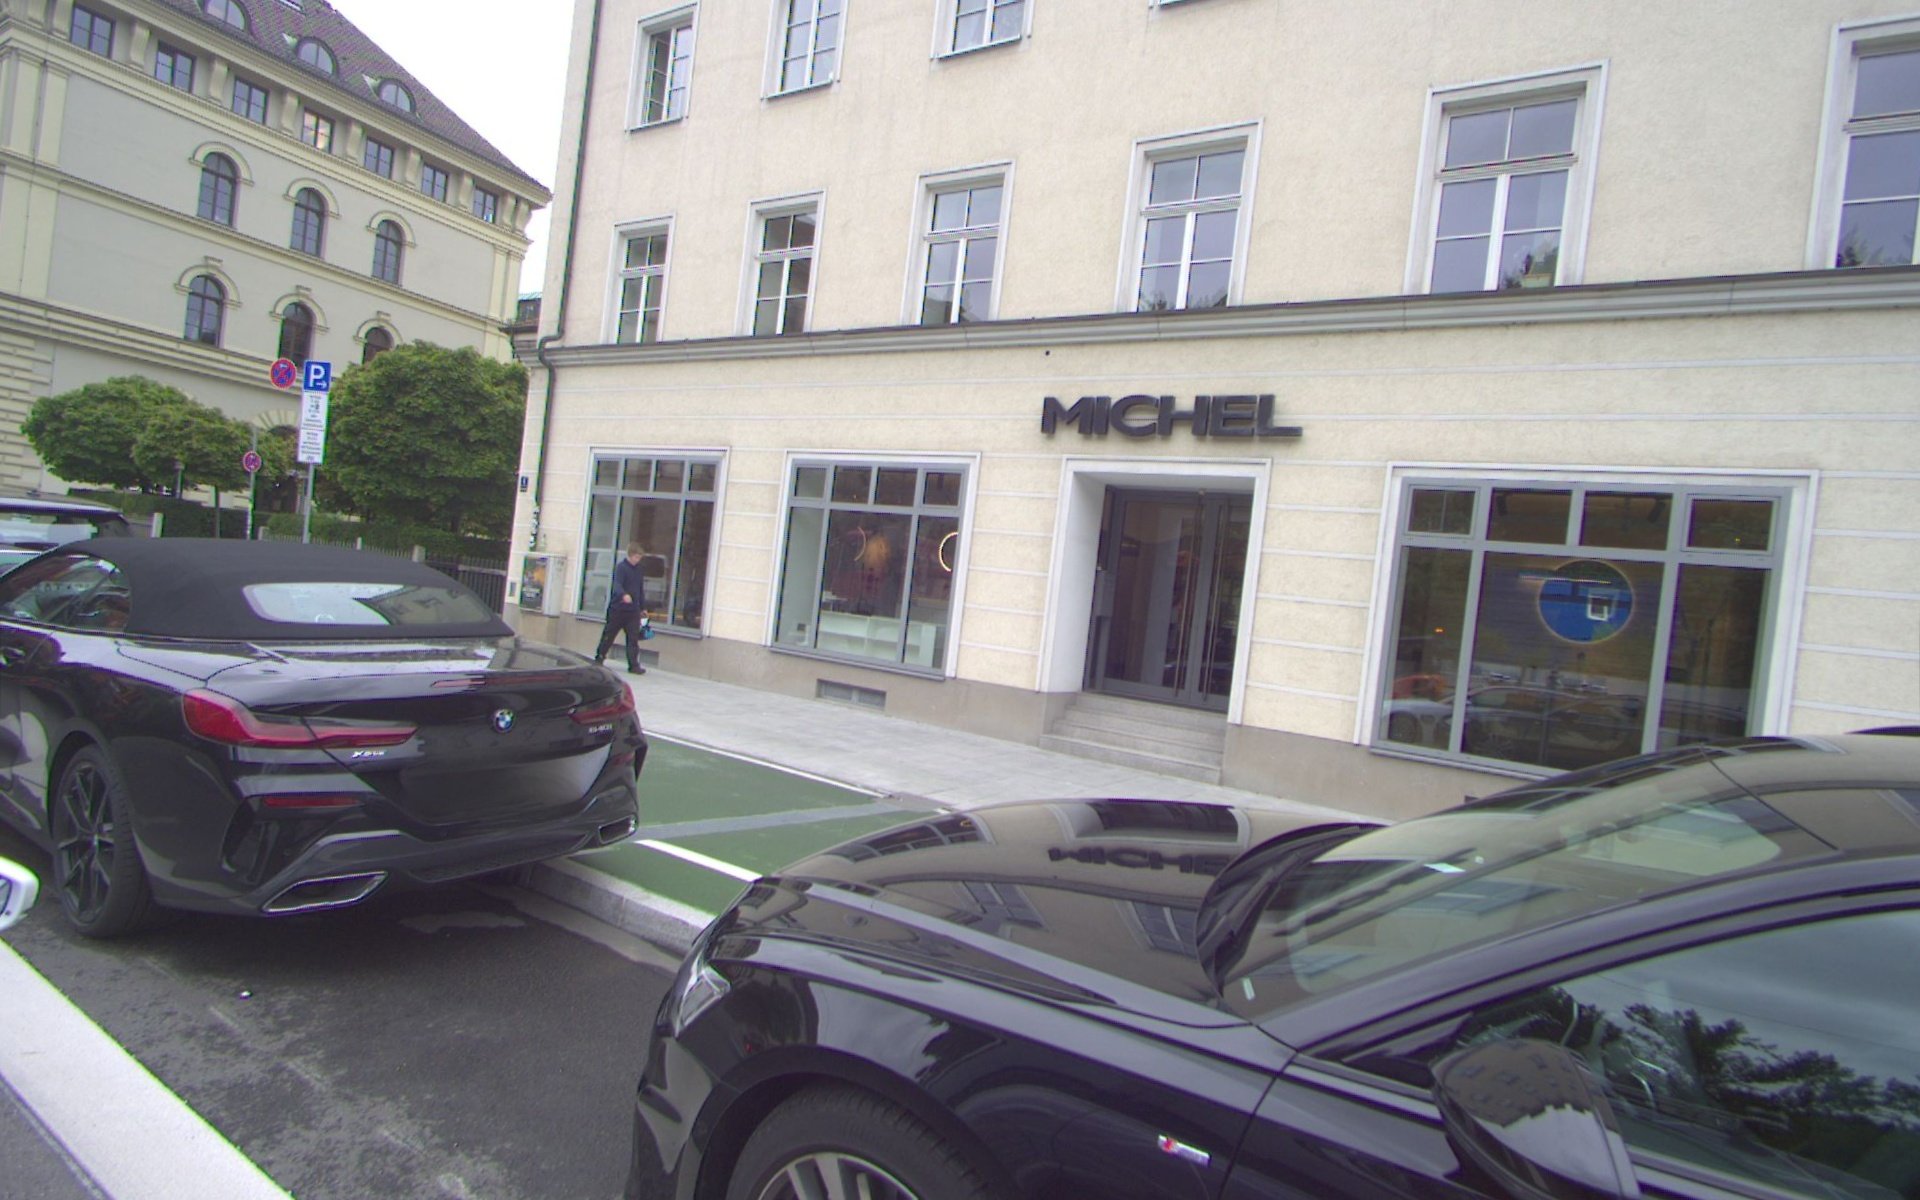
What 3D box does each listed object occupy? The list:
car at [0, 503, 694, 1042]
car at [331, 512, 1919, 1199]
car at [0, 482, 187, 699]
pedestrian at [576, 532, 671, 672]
[{"bbox_3d":[-3.476,0.406,4.720,4.353,1.402,1.683,7,-1,32],"label":"car"},{"bbox_3d":[1.178,0.873,1.754,4.607,1.498,1.805,7,0,30],"label":"car"},{"bbox_3d":[-7.975,-0.212,8.117,3.368,1.514,1.612,7,0,32],"label":"car"},{"bbox_3d":[-4.741,0.037,14.185,0.764,1.859,0.791,8,1,33],"label":"pedestrian"}]
